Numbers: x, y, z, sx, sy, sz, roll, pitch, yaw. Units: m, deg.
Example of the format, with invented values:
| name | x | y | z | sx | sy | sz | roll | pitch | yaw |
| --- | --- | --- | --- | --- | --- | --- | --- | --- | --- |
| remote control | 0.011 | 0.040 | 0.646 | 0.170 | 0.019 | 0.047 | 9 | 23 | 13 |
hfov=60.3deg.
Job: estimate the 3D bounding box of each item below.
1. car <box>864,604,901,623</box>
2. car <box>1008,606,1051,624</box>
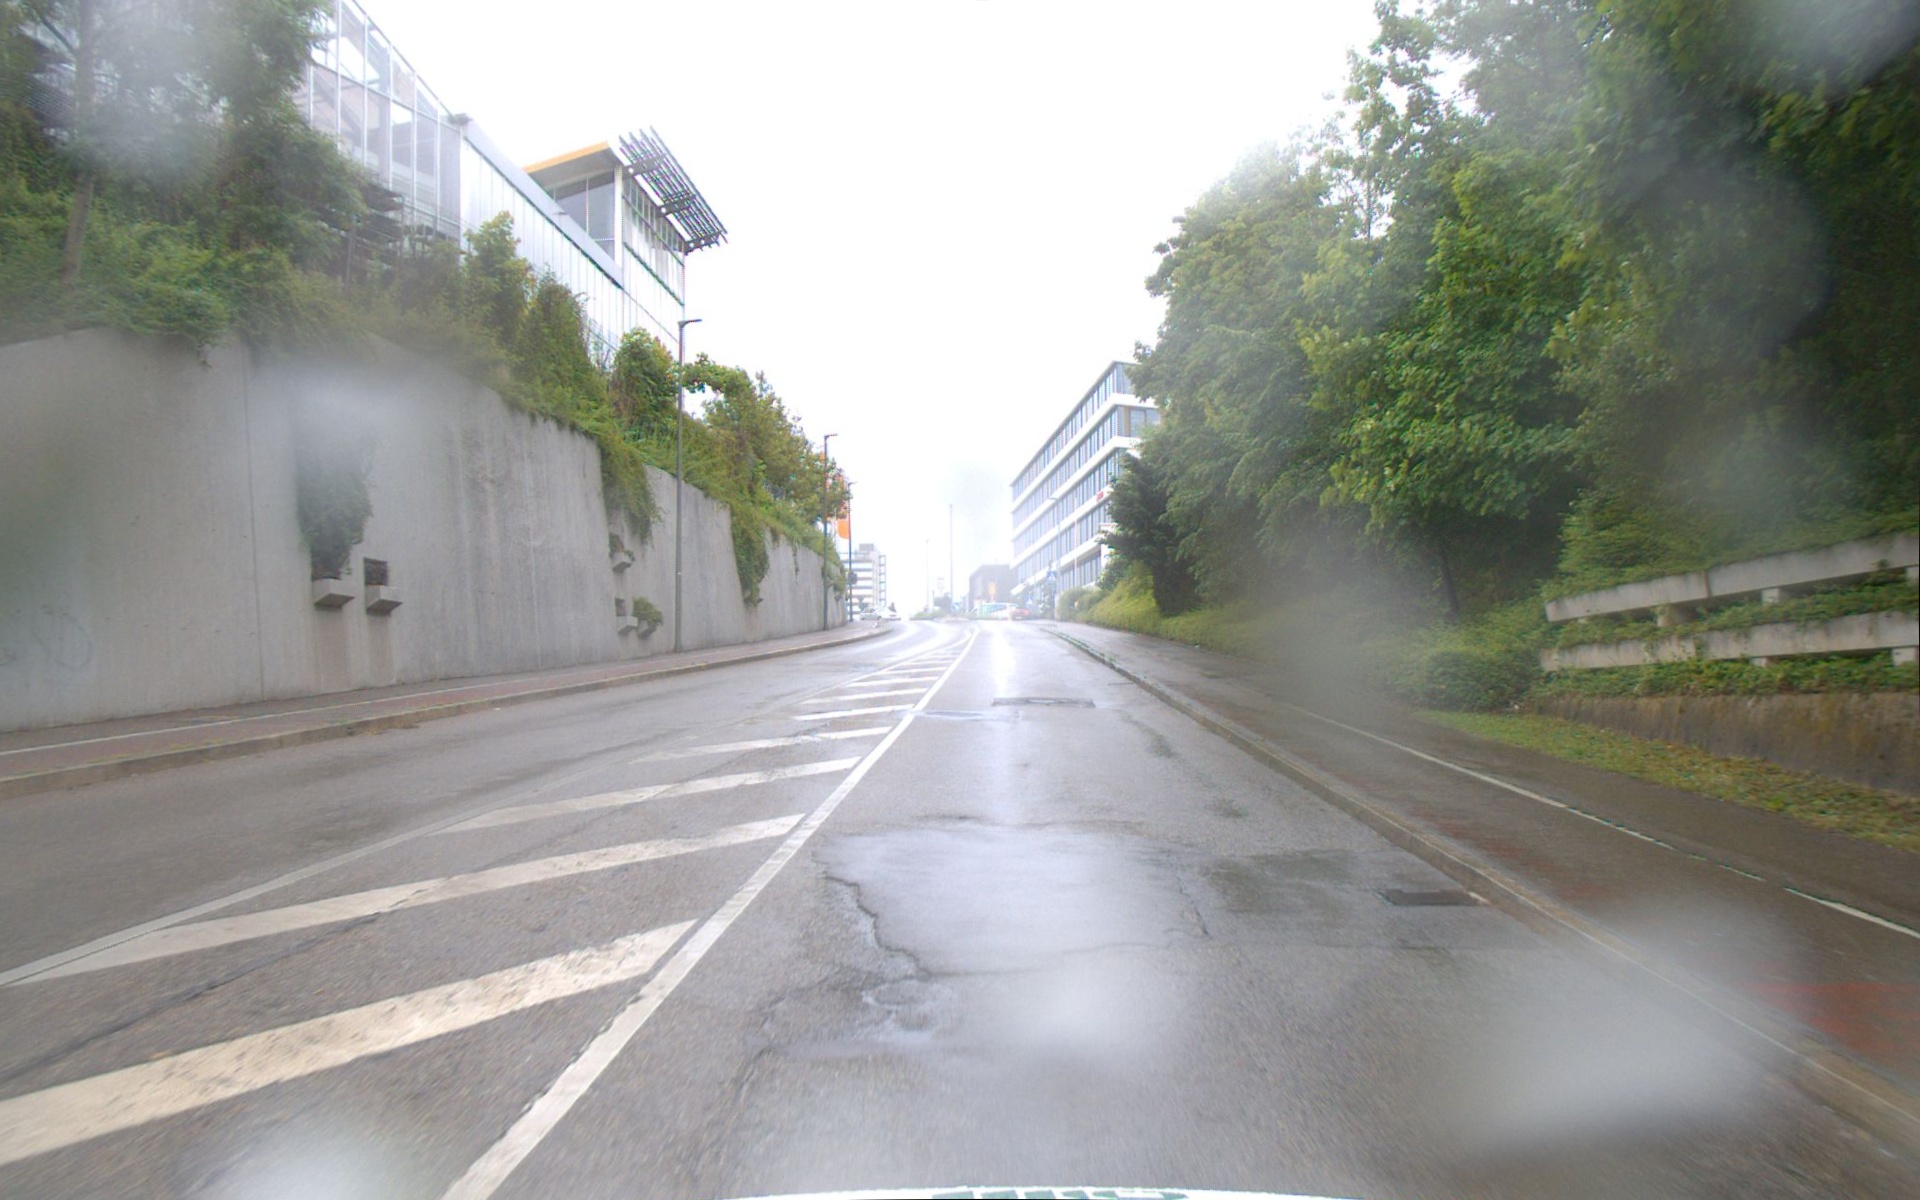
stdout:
| name | x | y | z | sx | sy | sz | roll | pitch | yaw |
| --- | --- | --- | --- | --- | --- | --- | --- | --- | --- |
| car | -6.258 | 1.085 | 132.918 | 1.618 | 1.386 | 4.219 | 2 | 0 | -23 |
| car | 5.665 | 1.174 | 134.210 | 1.761 | 1.434 | 4.206 | 0 | 0 | 31 |
